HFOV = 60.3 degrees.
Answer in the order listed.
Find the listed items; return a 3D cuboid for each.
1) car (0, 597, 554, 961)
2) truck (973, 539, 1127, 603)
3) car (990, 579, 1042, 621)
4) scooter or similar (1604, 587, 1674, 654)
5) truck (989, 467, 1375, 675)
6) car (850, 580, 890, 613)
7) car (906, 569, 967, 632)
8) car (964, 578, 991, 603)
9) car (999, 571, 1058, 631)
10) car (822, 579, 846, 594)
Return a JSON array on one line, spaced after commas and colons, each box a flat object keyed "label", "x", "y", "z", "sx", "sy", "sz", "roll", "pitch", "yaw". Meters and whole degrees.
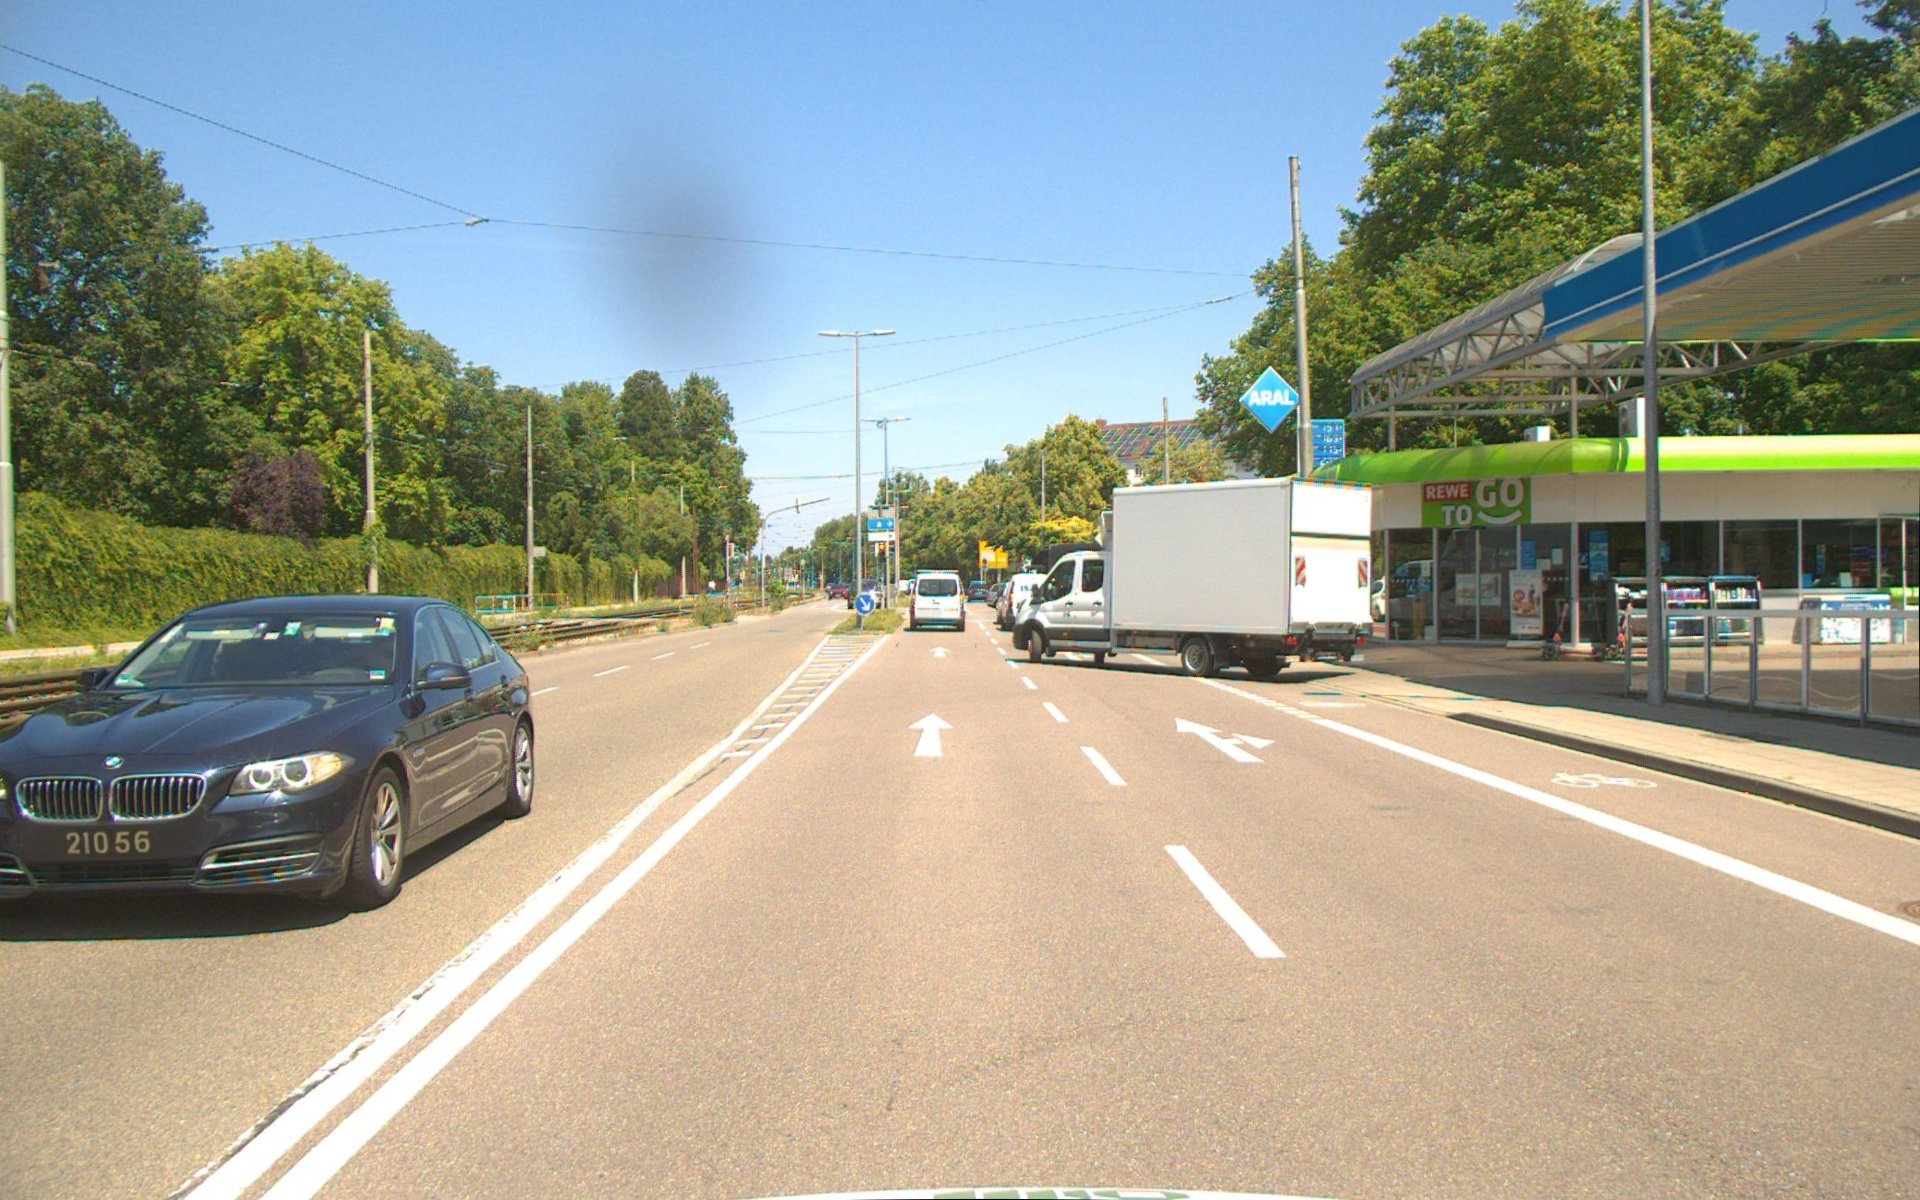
[{"label": "car", "x": -3.545, "y": 0.727, "z": 8.981, "sx": 1.757, "sy": 1.424, "sz": 4.446, "roll": 0, "pitch": 1, "yaw": -3}, {"label": "truck", "x": 5.362, "y": -1.690, "z": 99.662, "sx": 8.620, "sy": 3.696, "sz": 3.579, "roll": 0, "pitch": 1, "yaw": 32}, {"label": "car", "x": 2.040, "y": -0.023, "z": 61.231, "sx": 1.720, "sy": 1.512, "sz": 3.999, "roll": -1, "pitch": 1, "yaw": -1}, {"label": "scooter or similar", "x": 12.450, "y": 0.371, "z": 30.329, "sx": 1.112, "sy": 1.197, "sz": 0.384, "roll": 0, "pitch": 0, "yaw": 0}, {"label": "truck", "x": 3.926, "y": -0.504, "z": 31.190, "sx": 2.403, "sy": 3.450, "sz": 7.724, "roll": -1, "pitch": 1, "yaw": -38}, {"label": "car", "x": -5.229, "y": -0.227, "z": 95.844, "sx": 1.956, "sy": 1.861, "sz": 4.532, "roll": -1, "pitch": 1, "yaw": -8}, {"label": "car", "x": -0.768, "y": -0.008, "z": 52.375, "sx": 1.829, "sy": 1.868, "sz": 3.848, "roll": 1, "pitch": 1, "yaw": -2}, {"label": "car", "x": 1.363, "y": -0.749, "z": 127.460, "sx": 1.953, "sy": 1.892, "sz": 3.999, "roll": -1, "pitch": 1, "yaw": -1}, {"label": "car", "x": 2.177, "y": 0.016, "z": 53.448, "sx": 1.675, "sy": 1.862, "sz": 4.013, "roll": -1, "pitch": 1, "yaw": -1}, {"label": "car", "x": -12.187, "y": -1.288, "z": 160.038, "sx": 1.943, "sy": 1.382, "sz": 4.538, "roll": -1, "pitch": 1, "yaw": 0}]
